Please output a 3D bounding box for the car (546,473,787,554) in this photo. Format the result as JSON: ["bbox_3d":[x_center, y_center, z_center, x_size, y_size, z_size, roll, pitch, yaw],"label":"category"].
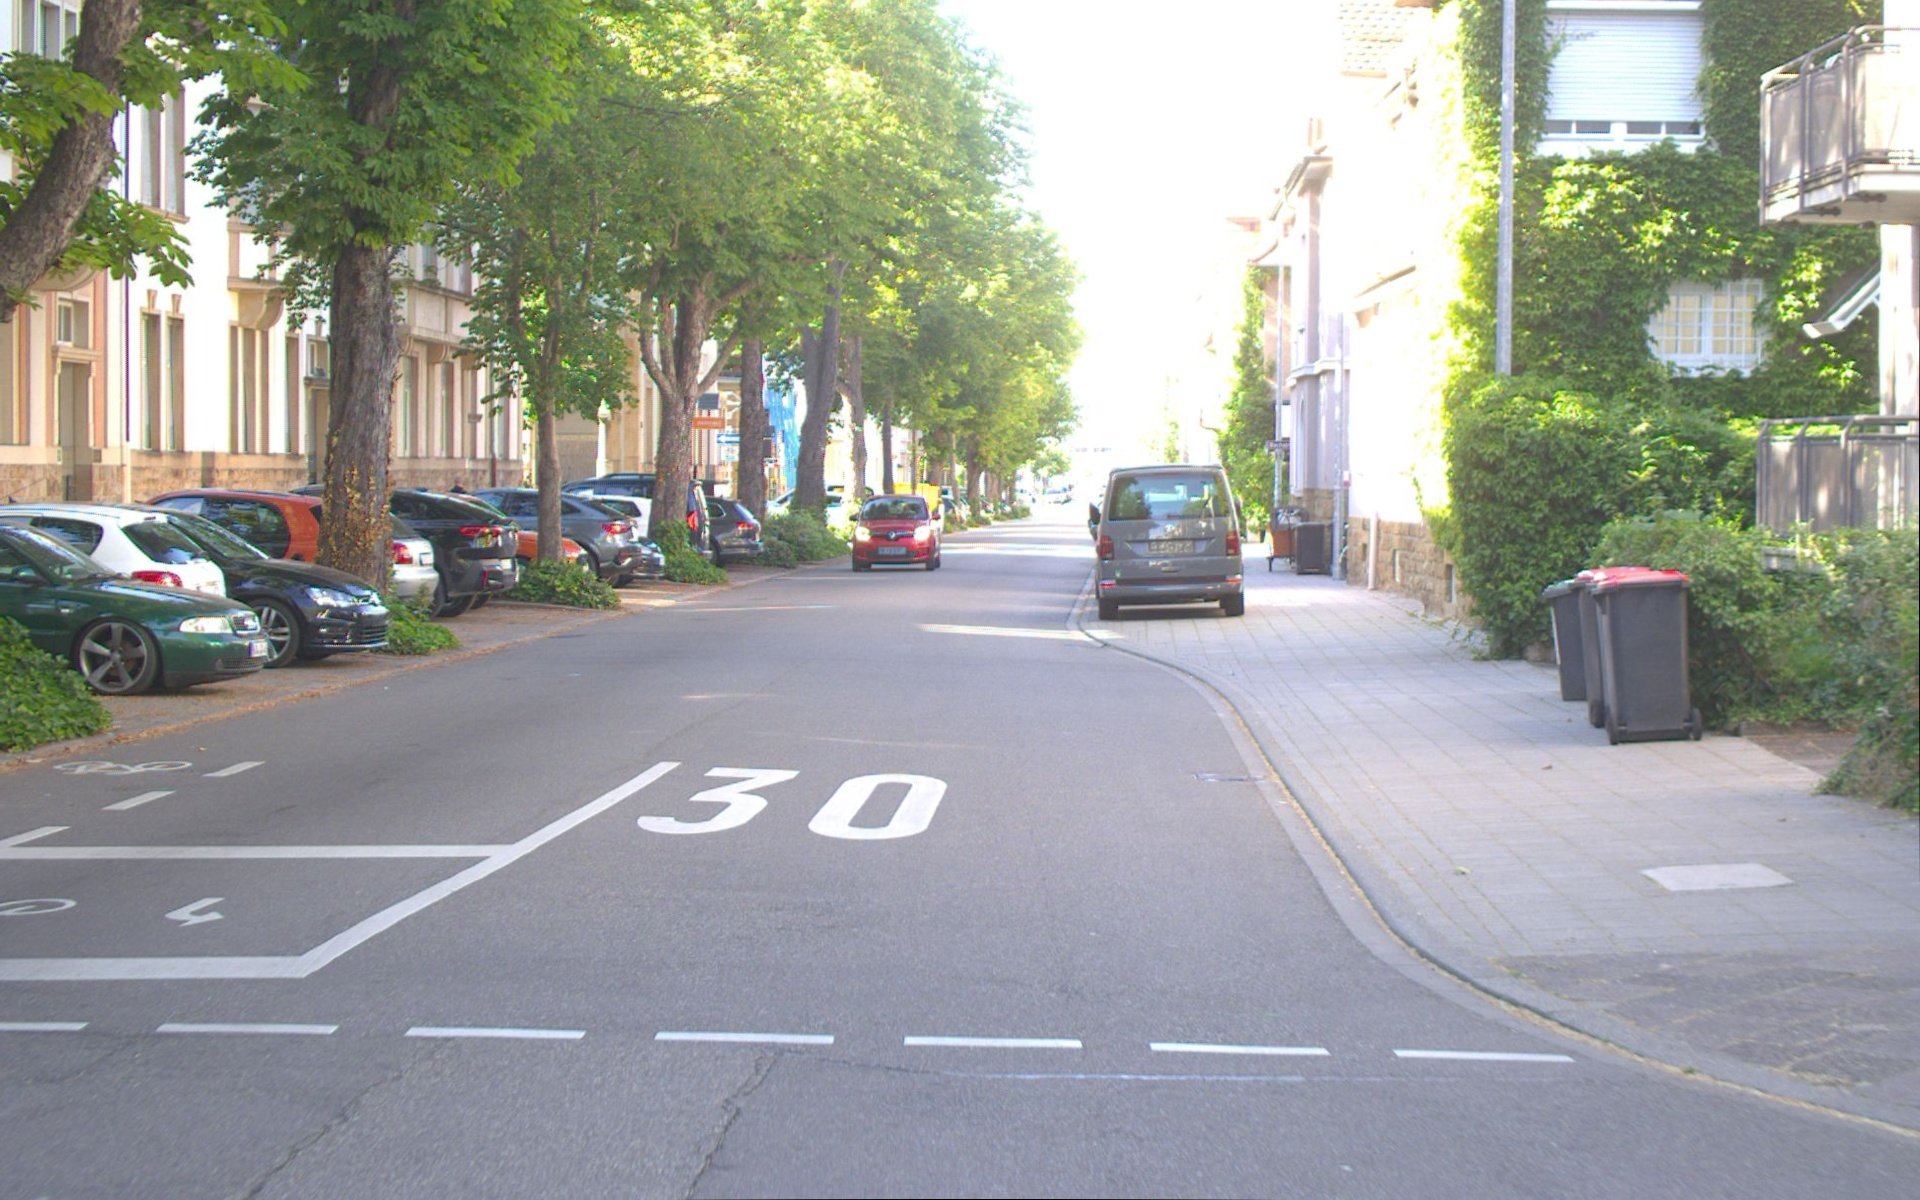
[{"bbox_3d":[-5.746,-1.706,67.629,4.532,1.498,1.892,1,2,2],"label":"car"}]

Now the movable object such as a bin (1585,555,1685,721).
[{"bbox_3d":[4.447,0.242,22.683,0.483,1.041,0.657,-3,2,0],"label":"movable object such as a bin"}]

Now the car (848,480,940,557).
[{"bbox_3d":[-1.314,-1.677,69.735,1.641,1.503,3.702,-1,2,2],"label":"car"}]

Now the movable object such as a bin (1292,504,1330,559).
[{"bbox_3d":[6.741,-1.322,66.100,0.647,1.036,0.828,0,2,0],"label":"movable object such as a bin"}]

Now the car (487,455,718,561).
[{"bbox_3d":[-6.502,-1.682,62.852,3.979,1.849,1.829,1,2,2],"label":"car"}]

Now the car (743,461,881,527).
[{"bbox_3d":[-4.379,-3.161,102.473,3.987,1.754,1.798,3,1,-1],"label":"car"}]

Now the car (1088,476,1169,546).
[{"bbox_3d":[3.908,-2.097,80.320,1.699,1.534,4.156,-2,2,1],"label":"car"}]

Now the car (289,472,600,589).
[{"bbox_3d":[-7.130,-0.969,47.788,3.987,1.509,1.747,1,1,3],"label":"car"}]

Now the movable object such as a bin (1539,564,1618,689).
[{"bbox_3d":[4.779,0.201,26.578,0.503,0.912,0.573,-3,2,5],"label":"movable object such as a bin"}]

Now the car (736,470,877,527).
[{"bbox_3d":[-4.430,-2.926,99.608,3.987,1.459,1.798,3,1,-1],"label":"car"}]

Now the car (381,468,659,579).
[{"bbox_3d":[-6.778,-1.199,53.176,3.987,1.587,1.859,2,2,2],"label":"car"}]

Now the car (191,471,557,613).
[{"bbox_3d":[-7.006,-0.710,41.357,3.987,1.561,1.863,2,2,4],"label":"car"}]

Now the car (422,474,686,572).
[{"bbox_3d":[-6.571,-1.264,55.836,3.903,1.441,1.859,2,2,8],"label":"car"}]

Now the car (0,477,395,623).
[{"bbox_3d":[-8.217,-0.549,36.772,3.987,1.502,1.722,0,2,4],"label":"car"}]

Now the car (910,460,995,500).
[{"bbox_3d":[-0.366,-6.065,173.543,4.007,1.834,2.000,3,3,5],"label":"car"}]

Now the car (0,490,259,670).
[{"bbox_3d":[-7.910,-0.201,29.311,3.434,1.447,1.703,1,1,5],"label":"car"}]

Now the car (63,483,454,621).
[{"bbox_3d":[-7.940,-0.564,39.118,3.987,1.398,1.830,2,2,4],"label":"car"}]

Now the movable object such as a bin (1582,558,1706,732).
[{"bbox_3d":[4.338,0.278,21.825,0.597,1.041,0.707,-3,2,0],"label":"movable object such as a bin"}]

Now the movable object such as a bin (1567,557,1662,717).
[{"bbox_3d":[4.453,0.245,23.407,0.483,1.041,0.618,-3,2,0],"label":"movable object such as a bin"}]

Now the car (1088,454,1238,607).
[{"bbox_3d":[2.658,-0.963,45.475,1.865,1.909,4.782,0,2,3],"label":"car"}]

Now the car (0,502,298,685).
[{"bbox_3d":[-7.476,-0.095,26.912,4.212,1.344,1.703,1,1,3],"label":"car"}]

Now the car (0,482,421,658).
[{"bbox_3d":[-7.129,-0.301,31.587,3.987,1.477,1.785,1,2,4],"label":"car"}]
